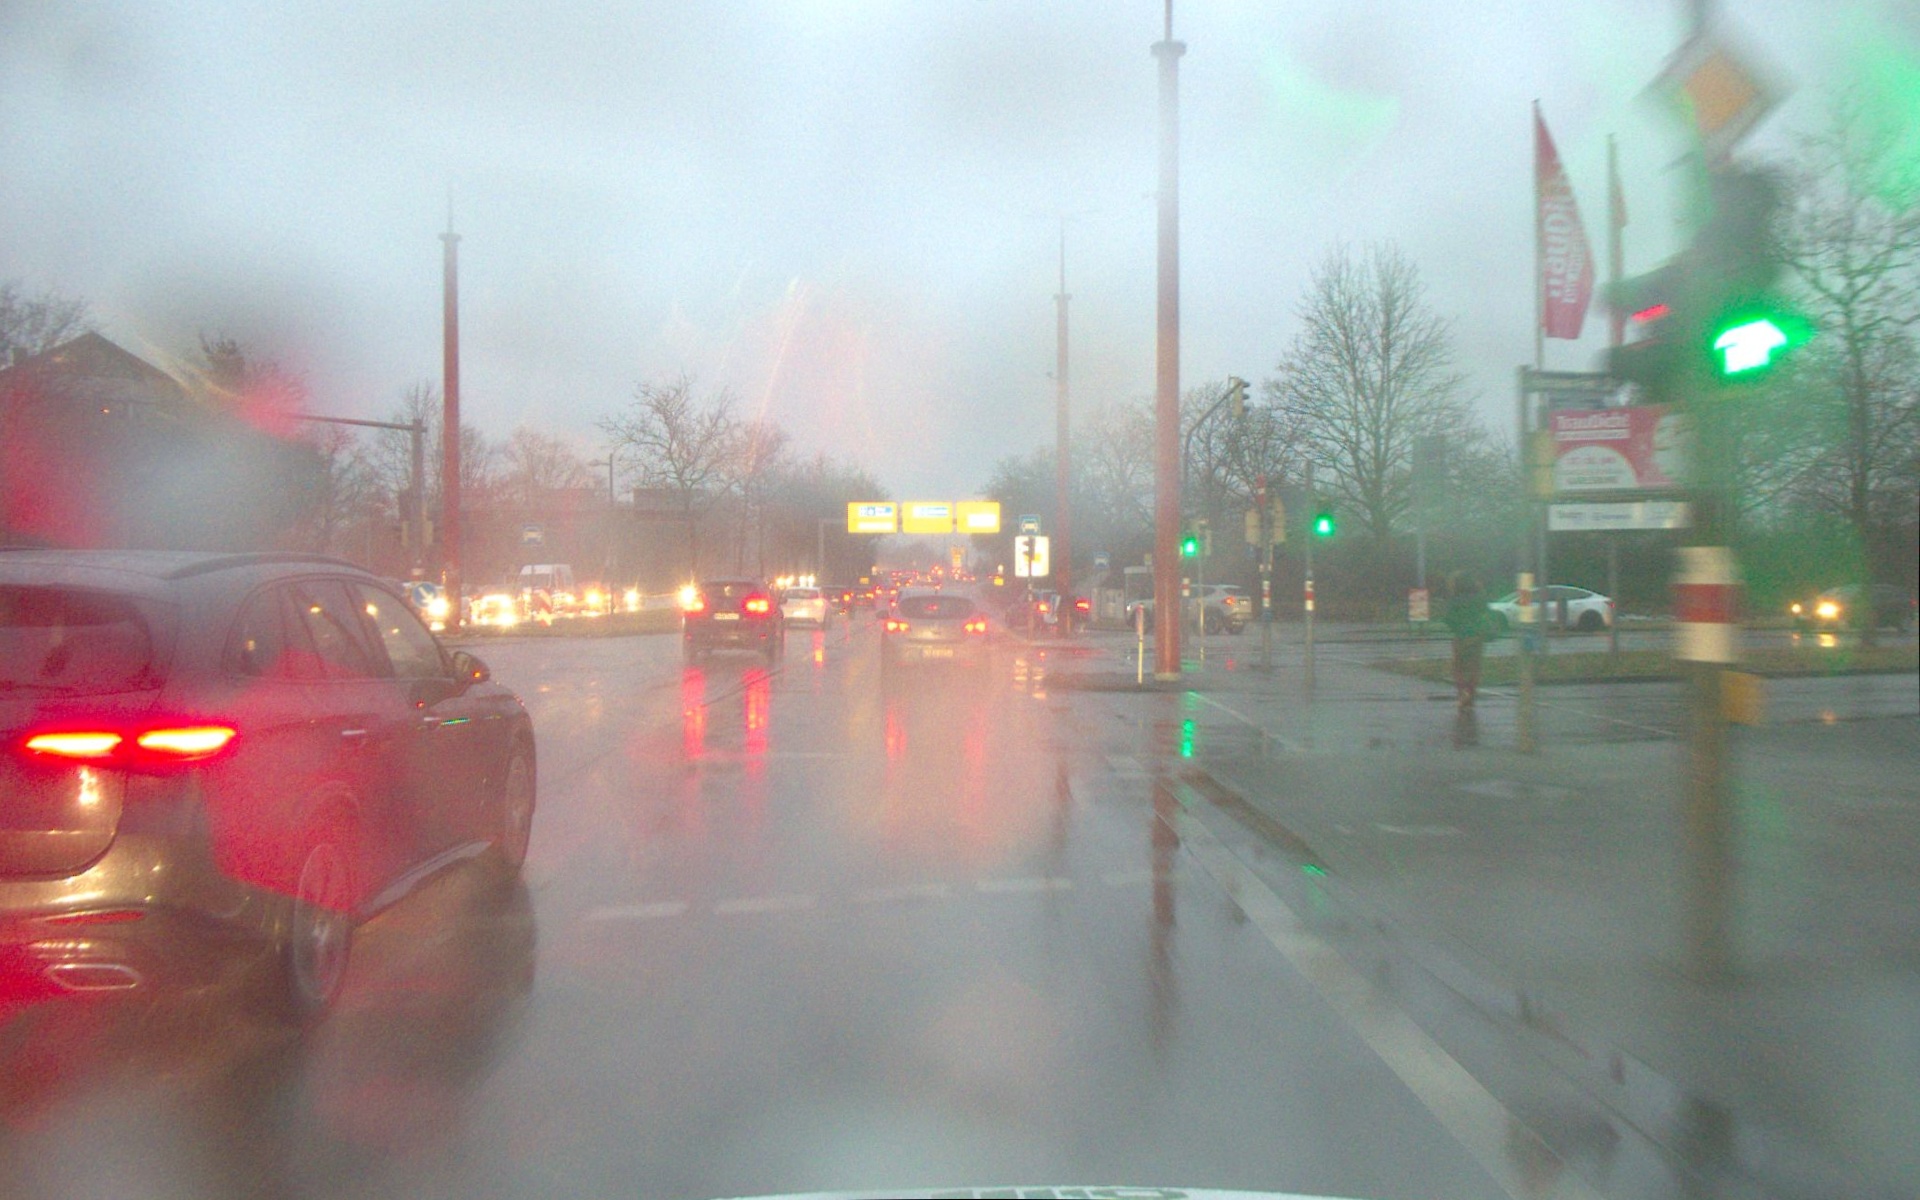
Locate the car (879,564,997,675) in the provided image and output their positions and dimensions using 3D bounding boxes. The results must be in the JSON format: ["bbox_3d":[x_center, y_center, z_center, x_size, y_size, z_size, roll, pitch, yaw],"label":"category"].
[{"bbox_3d":[-0.347,0.272,27.496,1.785,1.676,4.466,0,1,0],"label":"car"}]

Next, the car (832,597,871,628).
[{"bbox_3d":[-4.844,0.534,74.254,1.474,1.362,4.000,0,0,0],"label":"car"}]

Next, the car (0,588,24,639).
[{"bbox_3d":[-30.634,0.434,49.364,1.952,1.556,4.600,0,0,19],"label":"car"}]

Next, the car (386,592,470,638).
[{"bbox_3d":[-19.398,0.512,60.486,1.734,1.560,4.524,0,1,-2],"label":"car"}]

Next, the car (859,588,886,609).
[{"bbox_3d":[-7.064,-0.087,133.985,1.953,1.604,3.999,1,0,0],"label":"car"}]

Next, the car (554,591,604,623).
[{"bbox_3d":[-19.890,0.349,86.449,1.734,1.614,4.032,0,1,-2],"label":"car"}]

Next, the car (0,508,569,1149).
[{"bbox_3d":[-2.968,0.589,6.560,1.785,1.677,4.466,0,0,0],"label":"car"}]

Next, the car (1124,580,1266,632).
[{"bbox_3d":[7.728,0.189,54.482,4.321,1.646,1.815,0,0,36],"label":"car"}]

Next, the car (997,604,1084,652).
[{"bbox_3d":[2.953,1.018,61.658,1.902,1.677,4.447,1,0,-16],"label":"car"}]

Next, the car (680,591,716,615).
[{"bbox_3d":[-17.465,0.193,110.541,1.734,1.563,4.839,0,1,-2],"label":"car"}]

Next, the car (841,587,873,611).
[{"bbox_3d":[-6.524,-0.074,104.992,1.785,1.530,4.000,0,0,0],"label":"car"}]

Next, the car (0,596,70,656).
[{"bbox_3d":[-25.797,0.679,44.503,1.585,1.521,4.016,0,1,-1],"label":"car"}]

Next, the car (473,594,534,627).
[{"bbox_3d":[-22.629,0.495,82.150,1.733,1.563,4.446,0,1,0],"label":"car"}]

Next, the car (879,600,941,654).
[{"bbox_3d":[-1.624,0.870,55.300,1.953,1.691,3.999,1,0,-1],"label":"car"}]

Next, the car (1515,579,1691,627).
[{"bbox_3d":[19.276,0.087,49.750,4.638,1.400,1.884,0,0,9],"label":"car"}]

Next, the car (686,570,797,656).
[{"bbox_3d":[-4.447,0.245,34.186,1.785,1.677,4.000,0,0,0],"label":"car"}]

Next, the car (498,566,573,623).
[{"bbox_3d":[-23.929,-0.301,93.590,2.244,3.057,7.346,1,0,0],"label":"car"}]

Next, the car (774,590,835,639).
[{"bbox_3d":[-5.438,0.474,58.391,1.785,1.677,4.000,0,0,0],"label":"car"}]

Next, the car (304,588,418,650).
[{"bbox_3d":[-16.549,0.487,45.920,1.820,1.609,4.078,0,1,-3],"label":"car"}]
